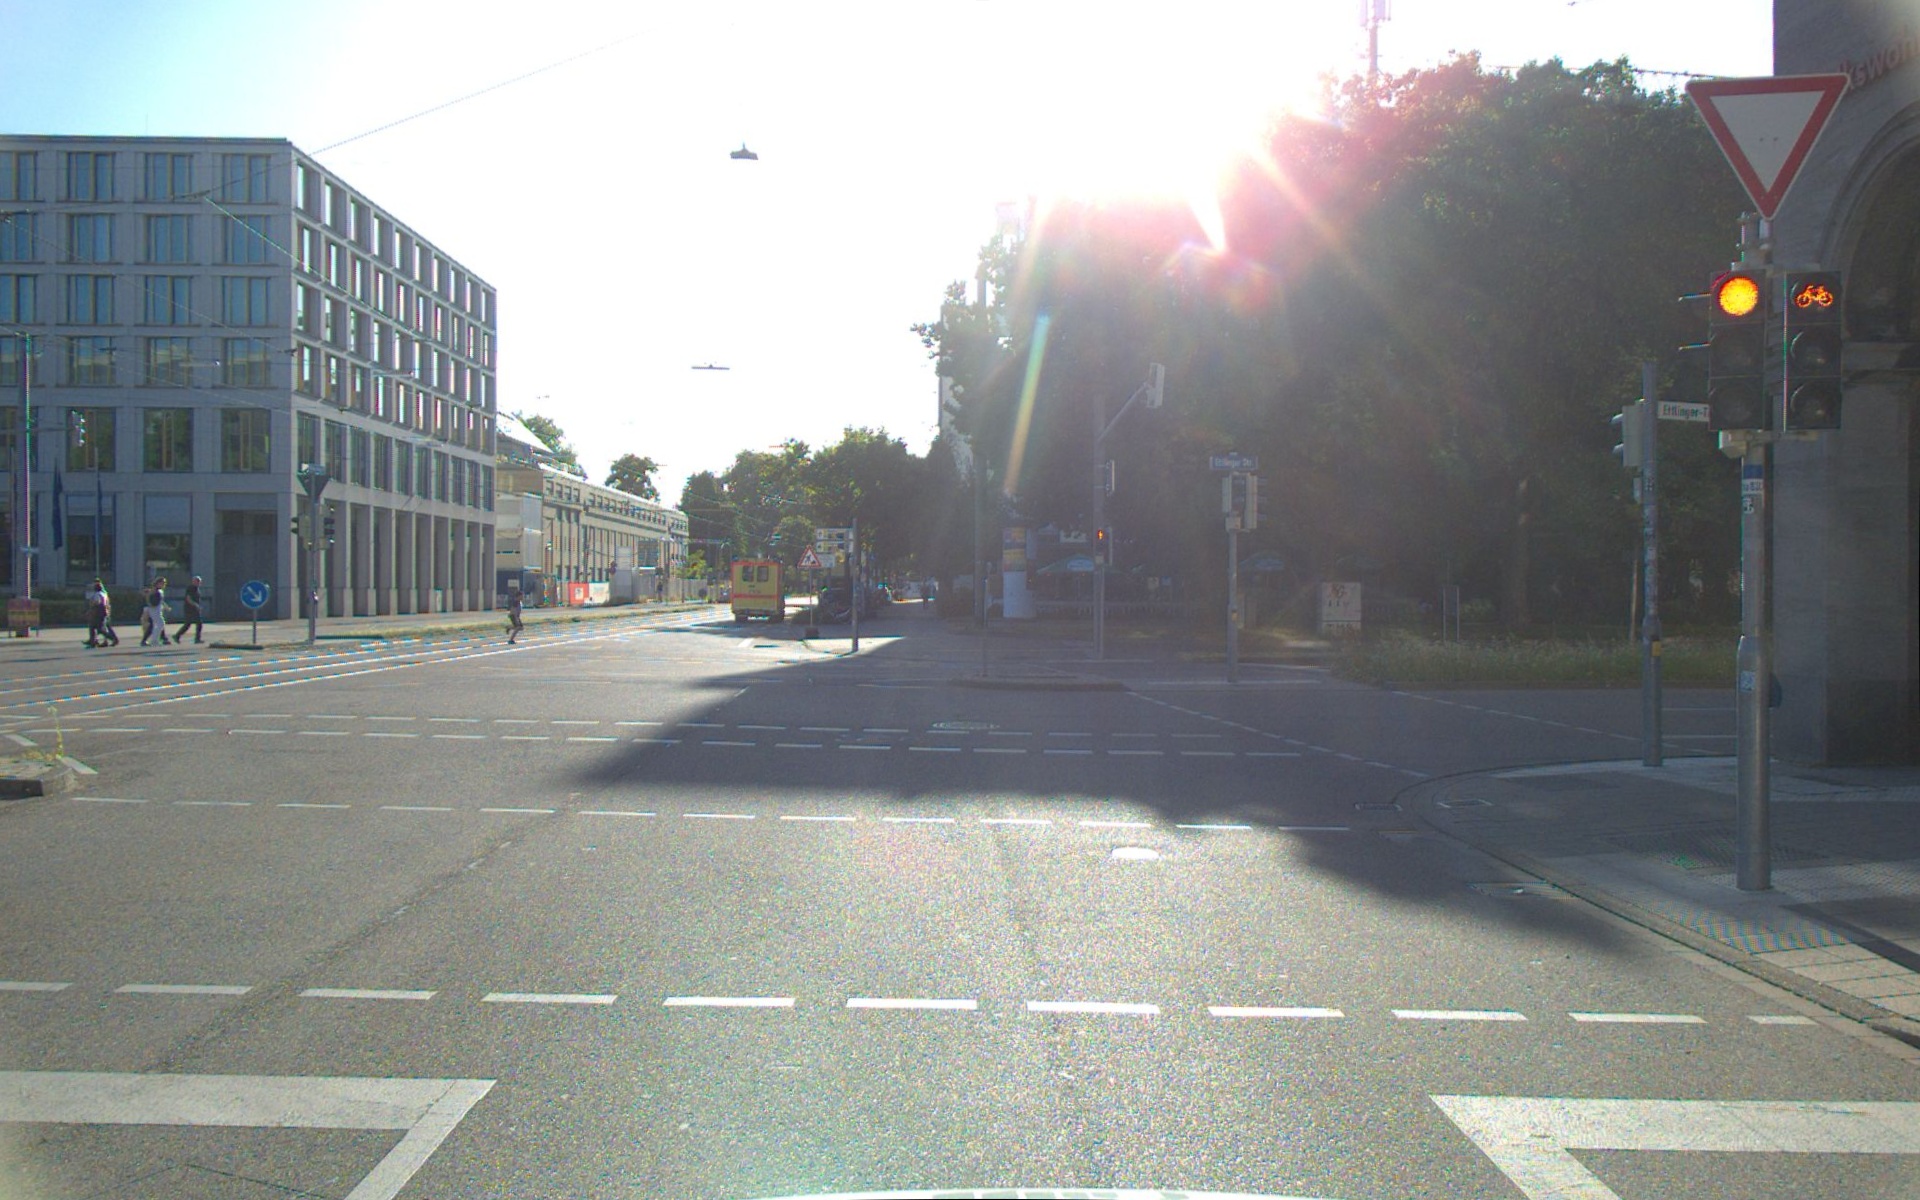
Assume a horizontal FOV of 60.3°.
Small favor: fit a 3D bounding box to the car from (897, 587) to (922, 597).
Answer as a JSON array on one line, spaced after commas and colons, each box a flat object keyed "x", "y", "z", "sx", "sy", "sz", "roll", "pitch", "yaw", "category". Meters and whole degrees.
[{"x": -6.389, "y": -1.004, "z": 211.082, "sx": 3.153, "sy": 1.285, "sz": 1.372, "roll": 1, "pitch": 0, "yaw": -2, "category": "car"}]

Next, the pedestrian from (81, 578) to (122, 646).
[{"x": -23.117, "y": 0.321, "z": 44.548, "sx": 0.723, "sy": 1.835, "sz": 0.716, "roll": 0, "pitch": 0, "yaw": 4, "category": "pedestrian"}]

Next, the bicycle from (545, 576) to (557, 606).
[{"x": -32.079, "y": -0.686, "z": 129.718, "sx": 0.559, "sy": 2.336, "sz": 1.422, "roll": 0, "pitch": 0, "yaw": -2, "category": "bicycle"}]

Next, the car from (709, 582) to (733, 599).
[{"x": -22.546, "y": -0.902, "z": 156.078, "sx": 1.856, "sy": 1.635, "sz": 4.498, "roll": 0, "pitch": 0, "yaw": -3, "category": "car"}]

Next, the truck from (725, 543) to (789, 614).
[{"x": -9.063, "y": -0.937, "z": 74.423, "sx": 2.664, "sy": 3.068, "sz": 6.482, "roll": 0, "pitch": 0, "yaw": -5, "category": "truck"}]

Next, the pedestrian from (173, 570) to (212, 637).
[{"x": -20.932, "y": 0.103, "z": 45.112, "sx": 0.732, "sy": 1.792, "sz": 0.678, "roll": -1, "pitch": -1, "yaw": 4, "category": "pedestrian"}]

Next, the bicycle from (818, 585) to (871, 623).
[{"x": -5.660, "y": 0.197, "z": 81.307, "sx": 2.495, "sy": 1.774, "sz": 1.037, "roll": 1, "pitch": 0, "yaw": -1, "category": "bicycle"}]

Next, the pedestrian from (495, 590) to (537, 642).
[{"x": -11.454, "y": 0.403, "z": 42.713, "sx": 0.975, "sy": 1.340, "sz": 0.765, "roll": 0, "pitch": 0, "yaw": -10, "category": "pedestrian"}]

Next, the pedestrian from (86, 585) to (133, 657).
[{"x": -22.074, "y": 0.542, "z": 42.919, "sx": 0.852, "sy": 1.835, "sz": 0.664, "roll": 0, "pitch": 0, "yaw": 4, "category": "pedestrian"}]

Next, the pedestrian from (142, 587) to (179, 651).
[{"x": -21.228, "y": 0.505, "z": 43.907, "sx": 0.680, "sy": 1.673, "sz": 0.621, "roll": 0, "pitch": 0, "yaw": 0, "category": "pedestrian"}]

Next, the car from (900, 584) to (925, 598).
[{"x": -6.124, "y": -1.156, "z": 213.363, "sx": 3.152, "sy": 1.616, "sz": 1.445, "roll": 1, "pitch": 0, "yaw": -5, "category": "car"}]

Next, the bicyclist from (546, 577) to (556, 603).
[{"x": -32.077, "y": -0.797, "z": 129.671, "sx": 0.559, "sy": 2.059, "sz": 0.761, "roll": 0, "pitch": 0, "yaw": -2, "category": "bicyclist"}]

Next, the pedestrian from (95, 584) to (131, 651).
[{"x": -23.599, "y": 0.483, "z": 46.105, "sx": 0.723, "sy": 1.835, "sz": 0.532, "roll": 0, "pitch": 0, "yaw": 4, "category": "pedestrian"}]

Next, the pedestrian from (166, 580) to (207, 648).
[{"x": -21.137, "y": 0.388, "z": 45.182, "sx": 0.851, "sy": 1.835, "sz": 0.532, "roll": 0, "pitch": 0, "yaw": 4, "category": "pedestrian"}]

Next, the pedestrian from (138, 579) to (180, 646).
[{"x": -20.146, "y": 0.316, "z": 41.597, "sx": 0.777, "sy": 1.673, "sz": 0.620, "roll": 0, "pitch": 0, "yaw": -5, "category": "pedestrian"}]
